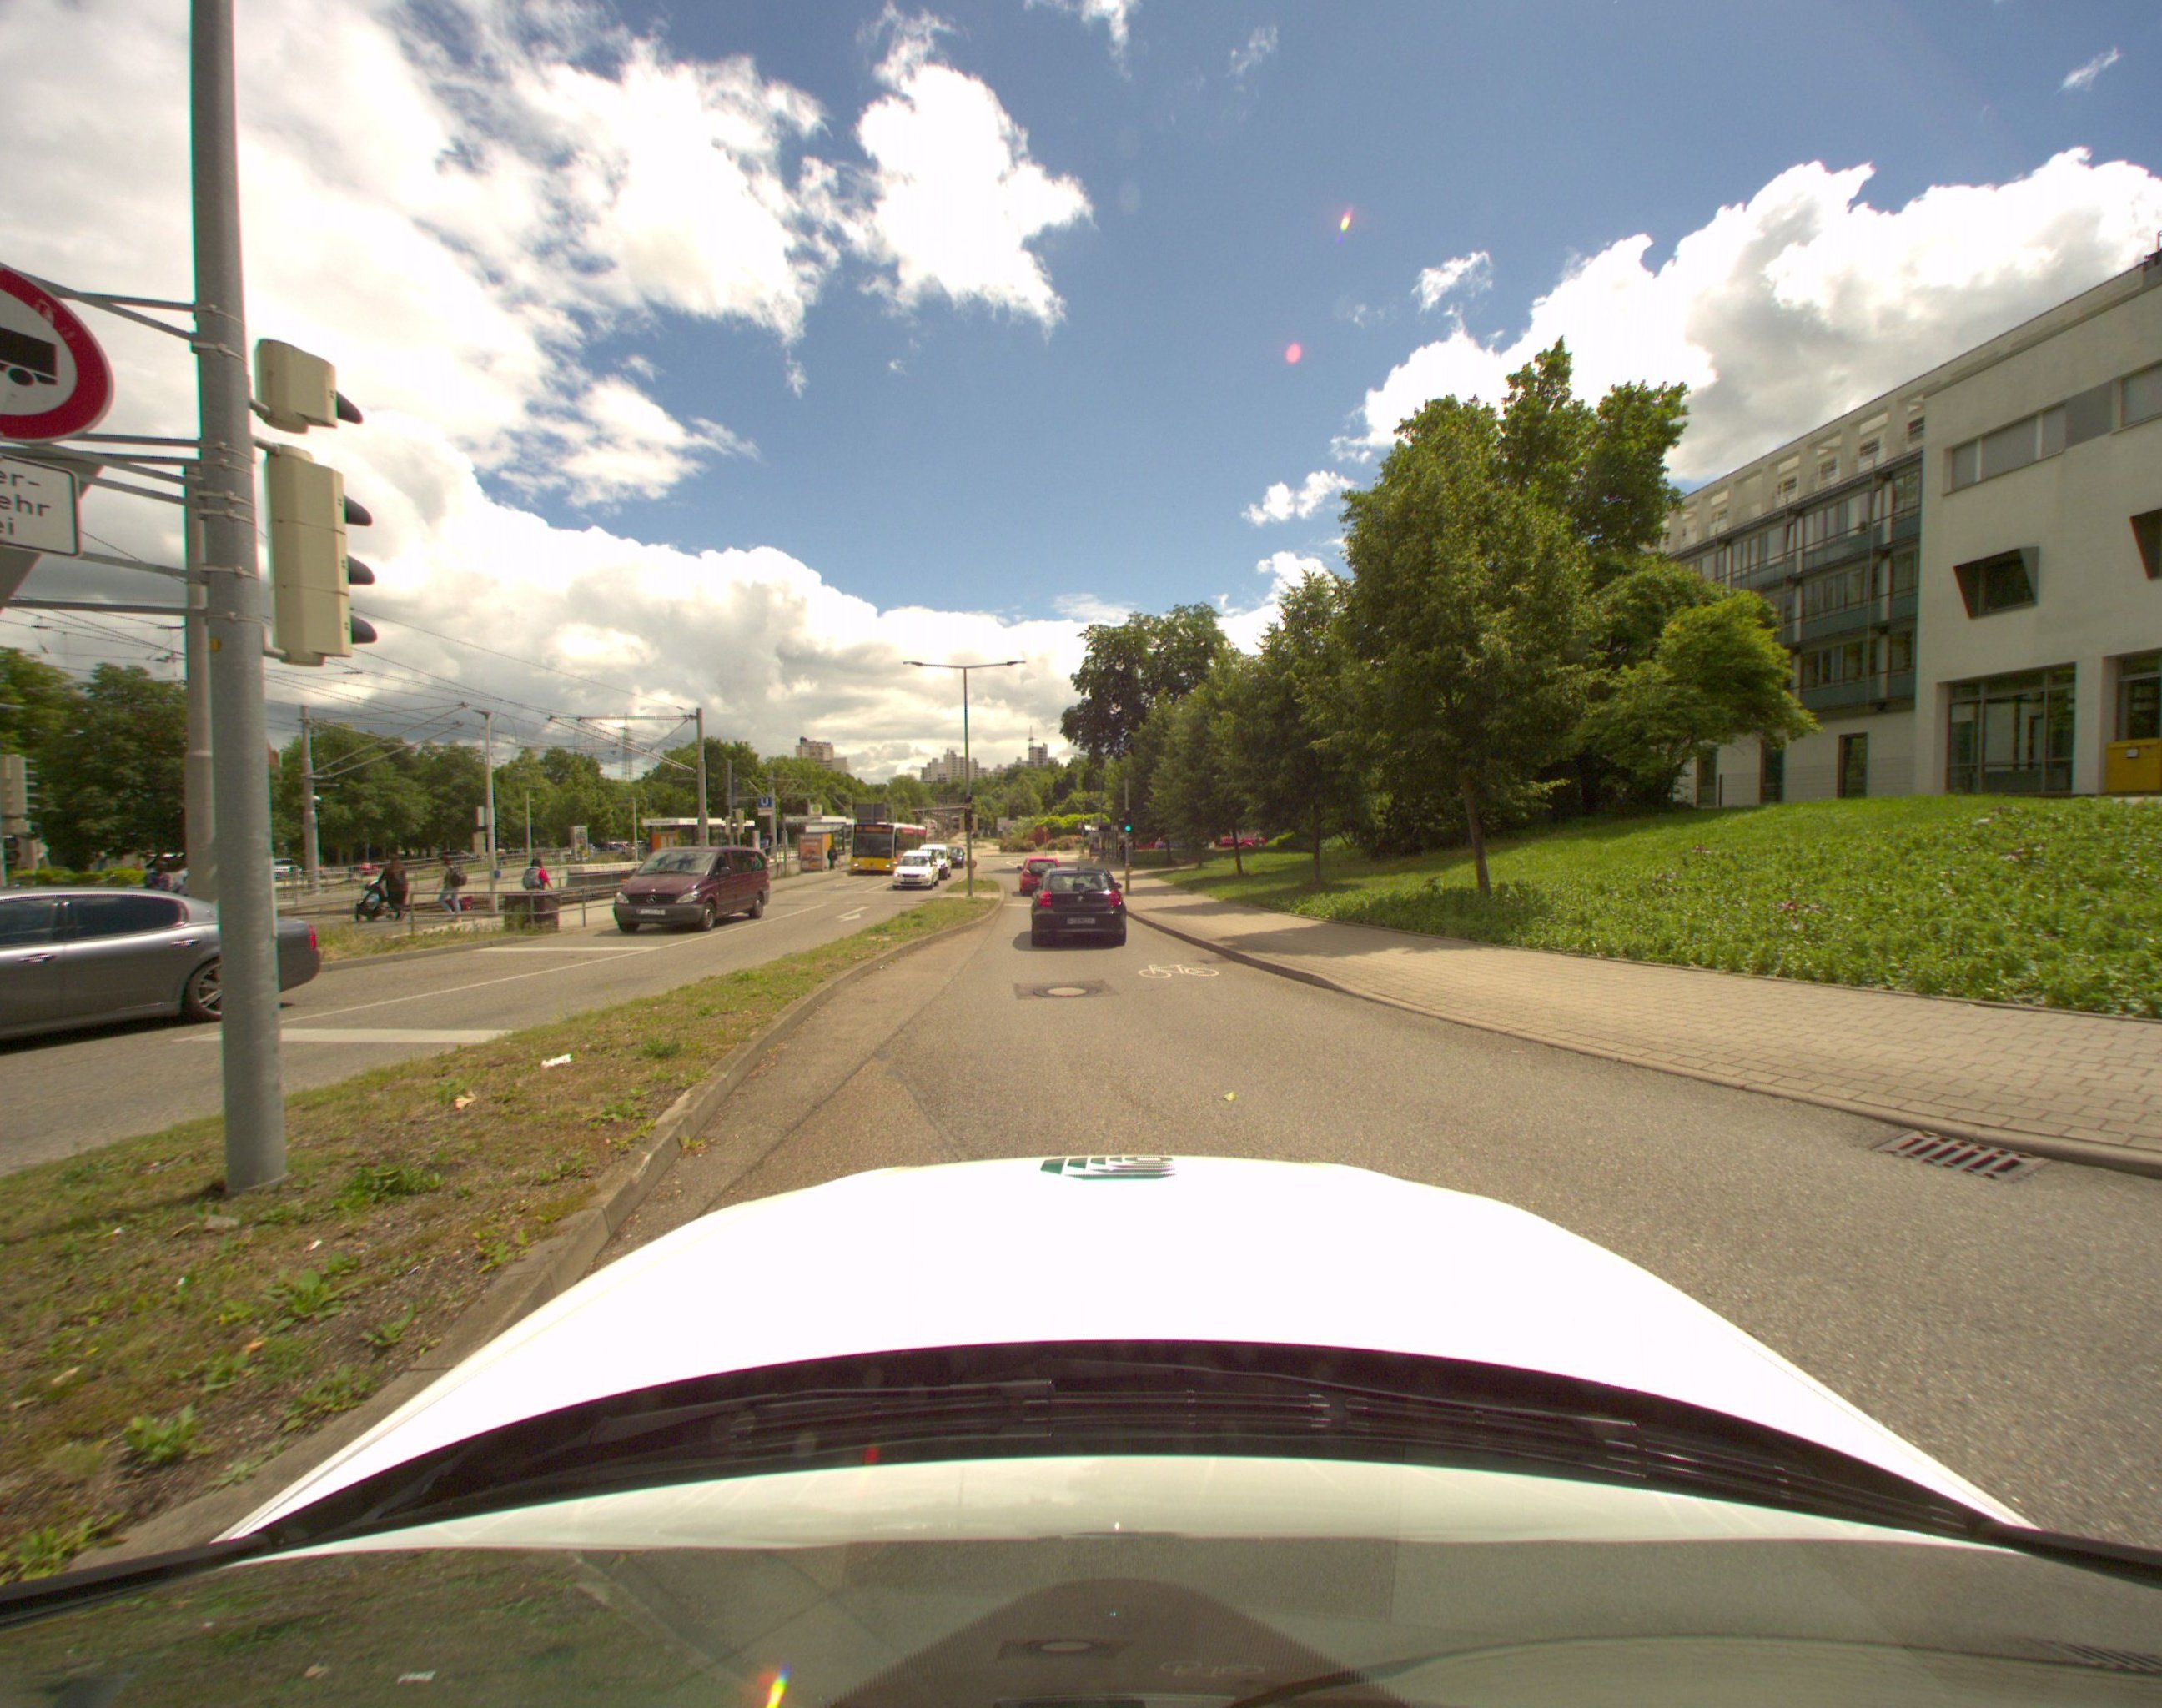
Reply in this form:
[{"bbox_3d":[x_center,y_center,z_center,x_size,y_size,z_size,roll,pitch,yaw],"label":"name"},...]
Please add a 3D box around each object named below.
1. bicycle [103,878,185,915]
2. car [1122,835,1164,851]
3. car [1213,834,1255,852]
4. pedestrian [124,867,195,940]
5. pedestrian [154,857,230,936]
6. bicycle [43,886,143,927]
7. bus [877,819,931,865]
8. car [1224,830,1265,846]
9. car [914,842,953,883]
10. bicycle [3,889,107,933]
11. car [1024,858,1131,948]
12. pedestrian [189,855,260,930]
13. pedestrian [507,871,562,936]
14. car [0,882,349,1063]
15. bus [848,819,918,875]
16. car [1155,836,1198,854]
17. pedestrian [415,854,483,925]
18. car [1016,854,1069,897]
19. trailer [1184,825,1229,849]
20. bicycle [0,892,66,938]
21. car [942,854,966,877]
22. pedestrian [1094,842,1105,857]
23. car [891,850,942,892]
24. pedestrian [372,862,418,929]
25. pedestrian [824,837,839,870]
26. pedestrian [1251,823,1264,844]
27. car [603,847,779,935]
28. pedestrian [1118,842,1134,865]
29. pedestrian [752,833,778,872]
[{"bbox_3d":[-28.403,1.293,24.696,1.888,1.029,0.696,-1,1,9],"label":"bicycle"},{"bbox_3d":[6.692,-1.171,88.275,4.158,1.561,1.993,-2,4,-11],"label":"car"},{"bbox_3d":[15.098,-1.104,80.238,3.685,1.643,1.825,-1,3,-9],"label":"car"},{"bbox_3d":[-21.130,1.124,18.684,0.834,1.604,0.666,-1,-1,-18],"label":"pedestrian"},{"bbox_3d":[-21.610,1.017,19.810,0.904,1.821,0.772,-2,1,-2],"label":"pedestrian"},{"bbox_3d":[-28.420,1.509,23.444,1.895,1.063,0.693,-1,0,-4],"label":"bicycle"},{"bbox_3d":[-12.803,-1.008,59.760,2.722,3.069,8.950,-1,3,-5],"label":"bus"},{"bbox_3d":[18.081,-1.786,90.130,4.078,1.502,1.995,-2,3,-8],"label":"car"},{"bbox_3d":[-7.860,0.407,43.677,1.760,1.661,4.497,-2,5,-8],"label":"car"},{"bbox_3d":[-28.266,1.564,22.461,1.893,1.098,0.694,-1,0,-2],"label":"bicycle"},{"bbox_3d":[-0.126,0.847,15.996,1.811,1.420,3.997,-2,1,-2],"label":"car"},{"bbox_3d":[-21.809,0.967,20.752,0.904,1.821,0.772,-2,1,-2],"label":"pedestrian"},{"bbox_3d":[-13.373,1.196,19.949,0.799,1.540,0.833,1,0,-7],"label":"pedestrian"},{"bbox_3d":[-9.810,1.048,7.149,1.787,1.410,5.063,-1,0,7],"label":"car"},{"bbox_3d":[-12.039,-0.554,50.477,2.722,3.108,9.688,-1,2,-5],"label":"bus"},{"bbox_3d":[9.338,-0.879,79.585,3.792,1.456,1.891,-3,3,-9],"label":"car"},{"bbox_3d":[-15.275,0.843,19.702,0.859,1.636,0.920,-2,0,-2],"label":"pedestrian"},{"bbox_3d":[-1.549,0.789,31.772,1.764,1.432,3.470,-2,1,-7],"label":"car"},{"bbox_3d":[13.752,-1.882,89.529,4.534,2.486,2.216,-1,3,-8],"label":"trailer"},{"bbox_3d":[-28.229,1.624,21.542,1.891,1.098,0.695,-2,1,3],"label":"bicycle"},{"bbox_3d":[-9.204,0.798,59.078,1.528,1.551,3.724,1,1,-6],"label":"car"},{"bbox_3d":[1.524,-0.393,67.611,0.825,1.258,0.685,-1,2,-3],"label":"pedestrian"},{"bbox_3d":[-7.079,0.685,35.436,1.696,1.648,4.072,0,1,-5],"label":"car"},{"bbox_3d":[-16.869,0.994,20.031,0.839,1.596,0.635,-1,0,-41],"label":"pedestrian"},{"bbox_3d":[-15.481,-0.017,50.525,0.702,2.013,0.825,-2,1,-10],"label":"pedestrian"},{"bbox_3d":[15.422,-1.796,71.298,0.981,1.760,0.859,-1,1,4],"label":"pedestrian"},{"bbox_3d":[-9.041,0.760,19.483,1.989,1.822,5.066,0,0,-3],"label":"car"},{"bbox_3d":[2.838,-0.064,51.326,0.818,1.424,0.828,-1,0,-6],"label":"pedestrian"},{"bbox_3d":[-16.588,-0.099,42.752,0.969,2.013,1.028,-1,0,-3],"label":"pedestrian"}]
